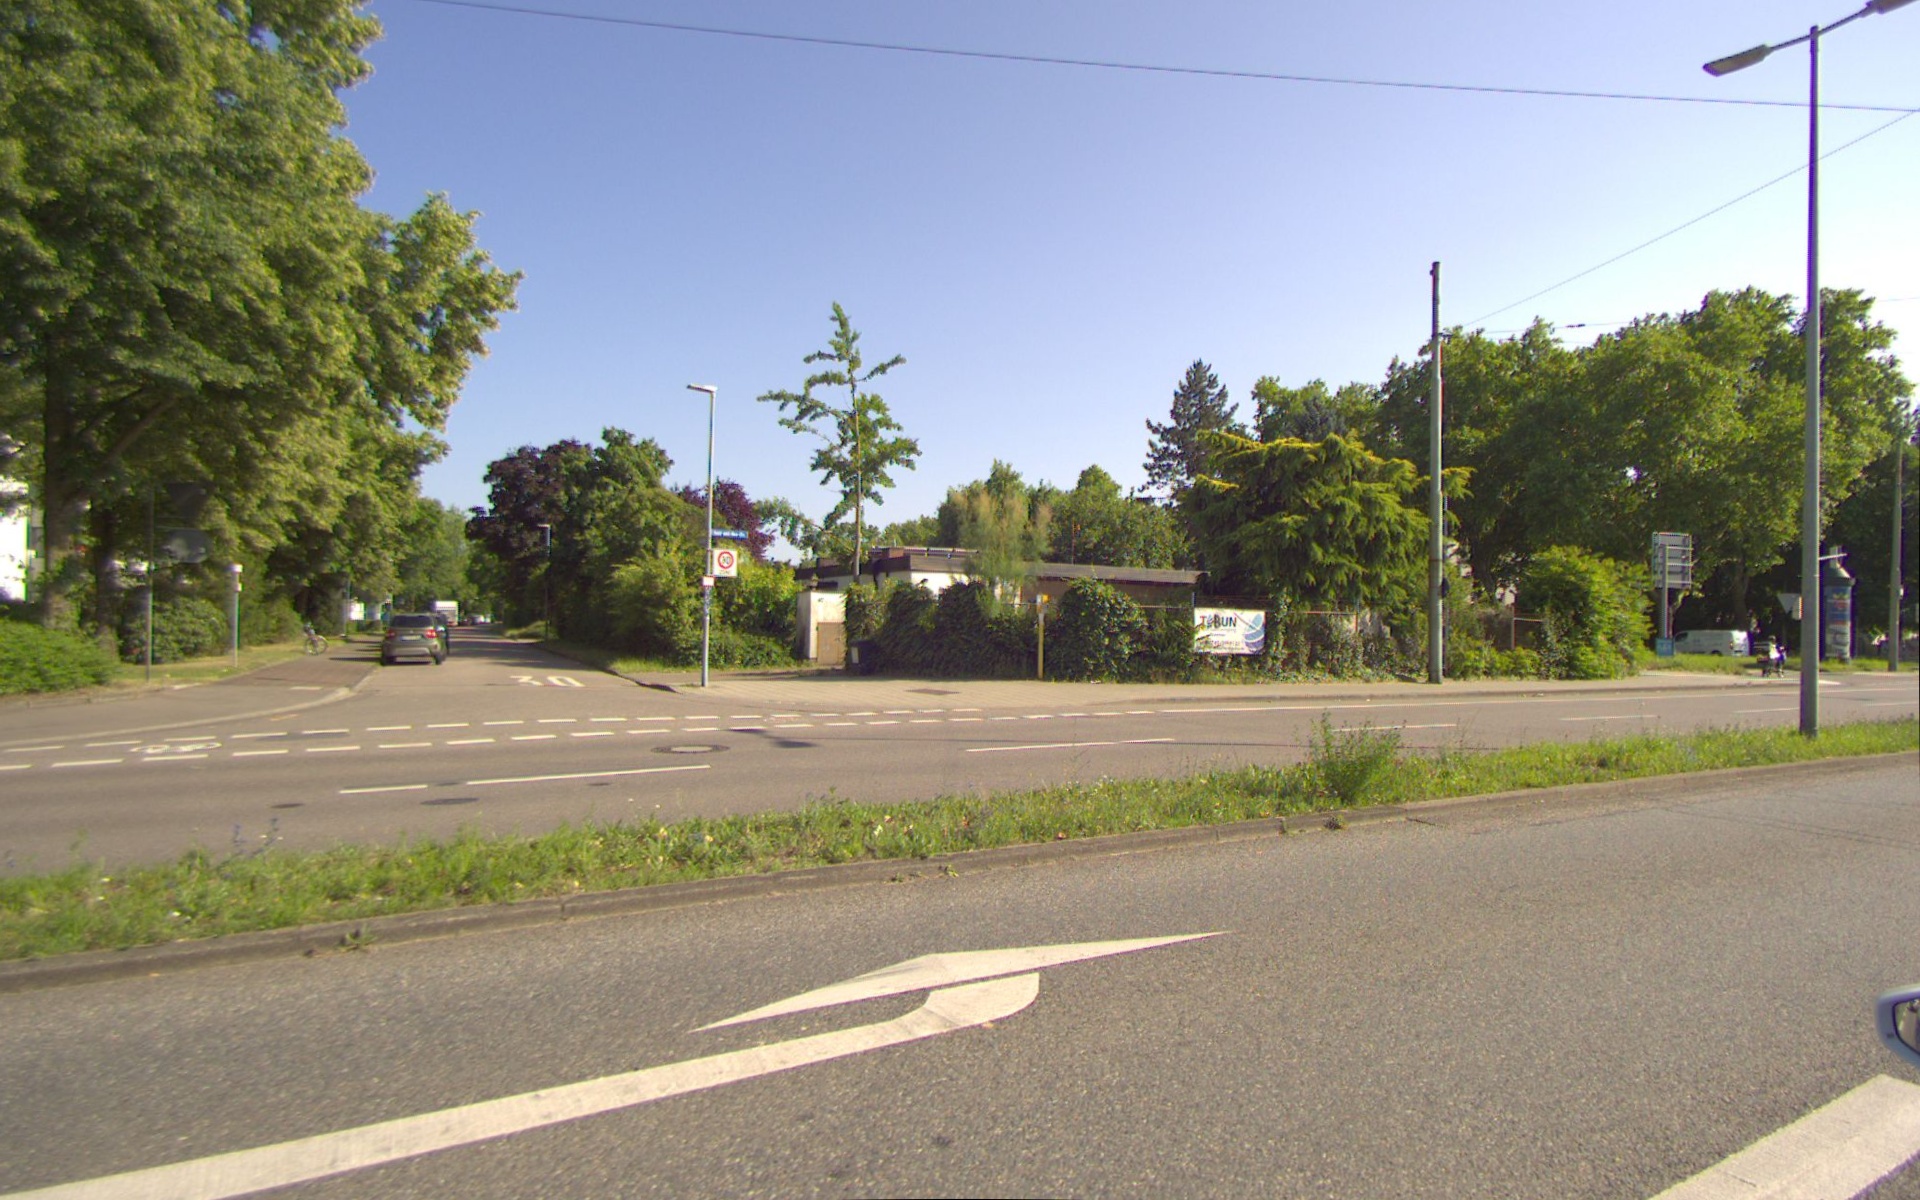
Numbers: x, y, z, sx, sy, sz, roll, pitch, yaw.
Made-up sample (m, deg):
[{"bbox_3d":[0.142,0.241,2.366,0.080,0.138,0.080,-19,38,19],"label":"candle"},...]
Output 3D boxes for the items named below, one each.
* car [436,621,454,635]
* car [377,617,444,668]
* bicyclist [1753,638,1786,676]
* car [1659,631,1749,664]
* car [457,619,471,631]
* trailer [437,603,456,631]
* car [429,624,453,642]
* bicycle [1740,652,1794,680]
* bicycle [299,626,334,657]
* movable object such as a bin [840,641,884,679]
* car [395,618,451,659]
[{"bbox_3d":[-59.532,3.281,116.198,1.764,1.529,3.972,2,-2,-27],"label":"car"},{"bbox_3d":[-17.348,1.313,31.813,1.737,1.506,3.538,2,-1,-28],"label":"car"},{"bbox_3d":[32.428,2.270,40.253,1.037,1.471,0.660,2,-1,-26],"label":"bicyclist"},{"bbox_3d":[47.924,3.050,64.805,1.797,1.989,4.380,2,-1,-22],"label":"car"},{"bbox_3d":[-68.944,3.499,139.602,1.764,1.529,3.972,2,-2,-27],"label":"car"},{"bbox_3d":[-64.555,2.187,126.302,1.975,3.343,8.840,2,-2,-27],"label":"trailer"},{"bbox_3d":[-43.954,2.799,85.058,1.764,1.529,3.972,2,-2,-27],"label":"car"},{"bbox_3d":[32.315,2.647,40.202,2.546,1.063,0.659,2,-1,-26],"label":"bicycle"},{"bbox_3d":[-21.596,1.381,33.736,0.774,1.002,1.733,2,-1,-26],"label":"bicycle"},{"bbox_3d":[-2.491,1.514,25.506,0.843,0.943,0.812,2,-1,-30],"label":"movable object such as a bin"},{"bbox_3d":[-21.331,1.512,40.001,1.763,1.530,3.974,2,-2,-26],"label":"car"}]
